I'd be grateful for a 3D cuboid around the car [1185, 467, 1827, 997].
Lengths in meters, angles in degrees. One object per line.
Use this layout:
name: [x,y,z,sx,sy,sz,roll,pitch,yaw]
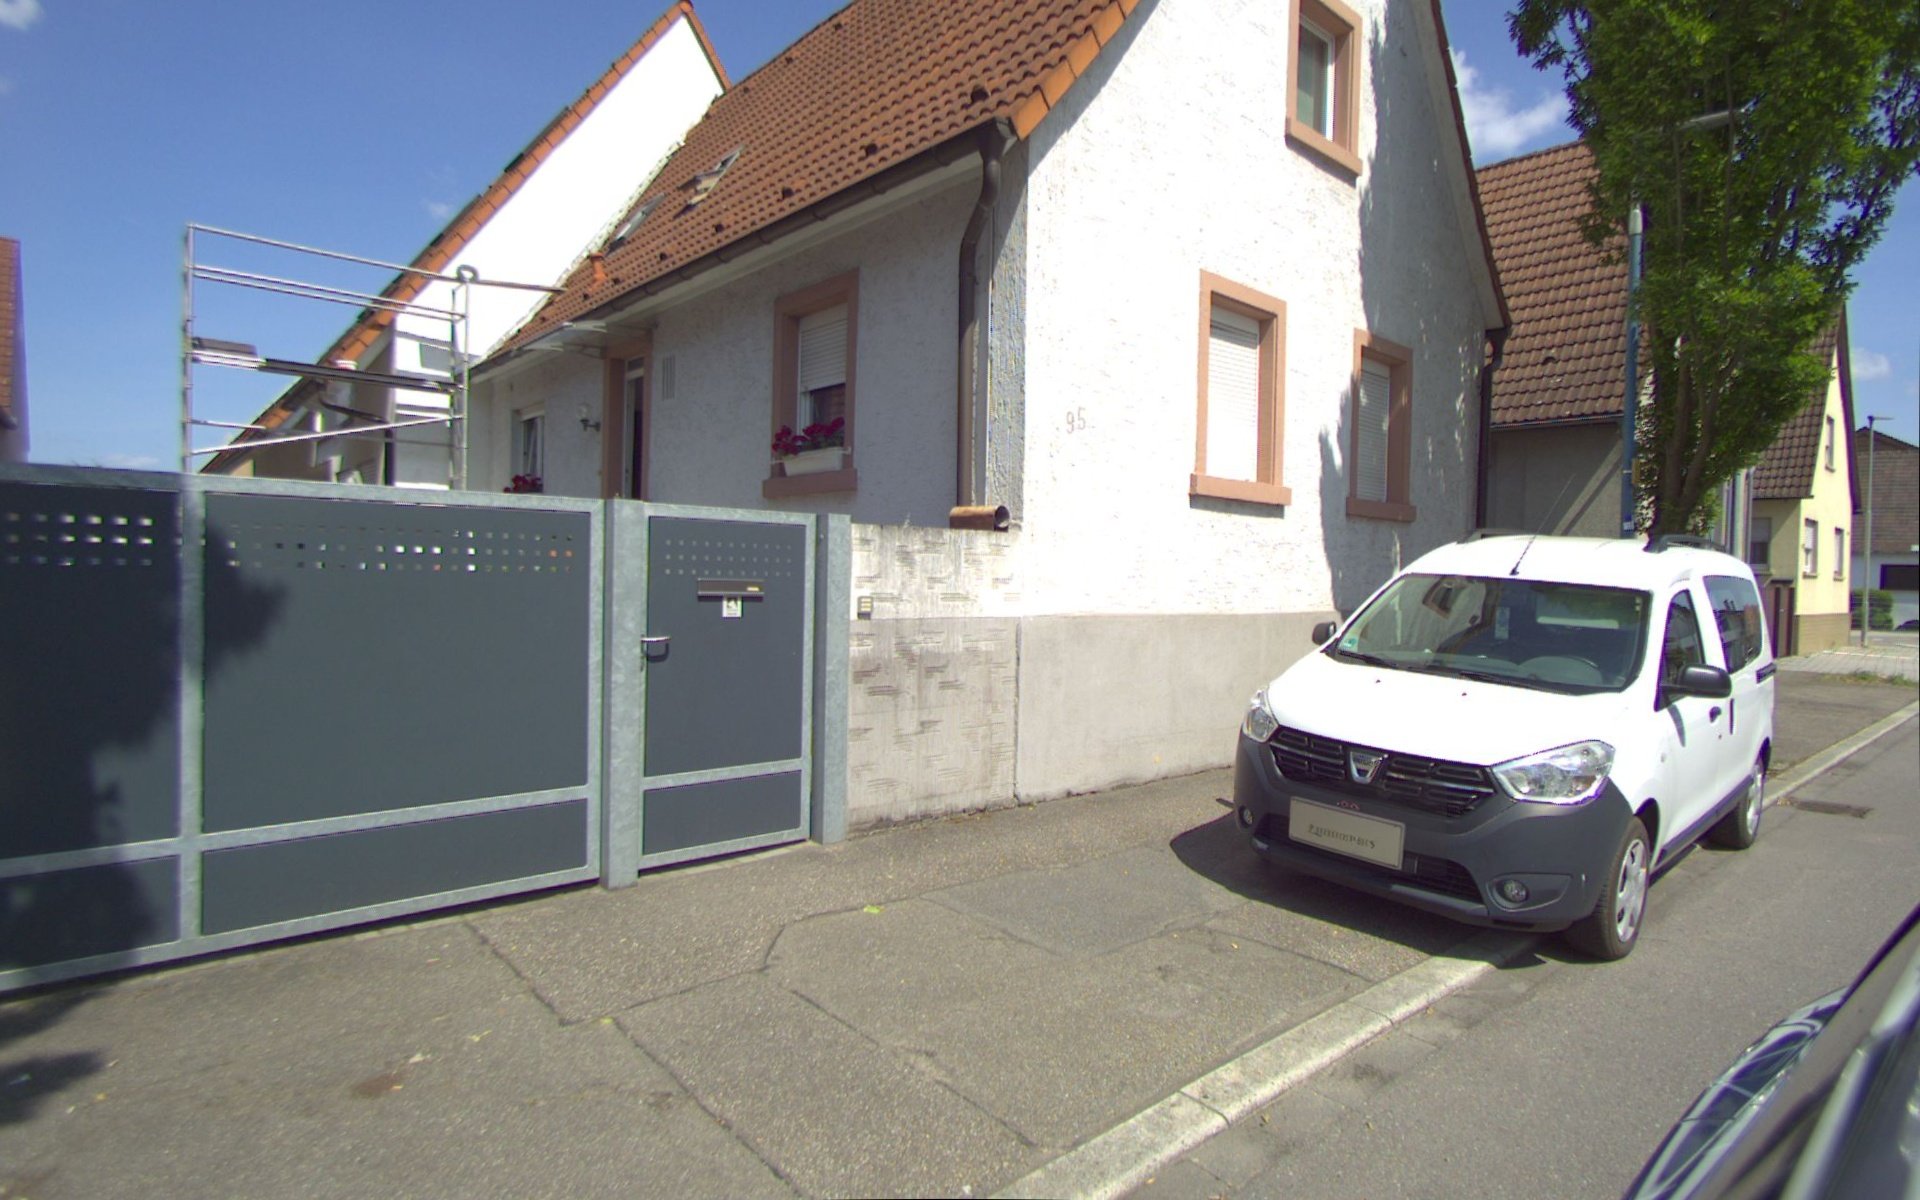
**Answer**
car: [3.395,0.393,5.752,4.683,1.864,1.691,0,4,-43]
